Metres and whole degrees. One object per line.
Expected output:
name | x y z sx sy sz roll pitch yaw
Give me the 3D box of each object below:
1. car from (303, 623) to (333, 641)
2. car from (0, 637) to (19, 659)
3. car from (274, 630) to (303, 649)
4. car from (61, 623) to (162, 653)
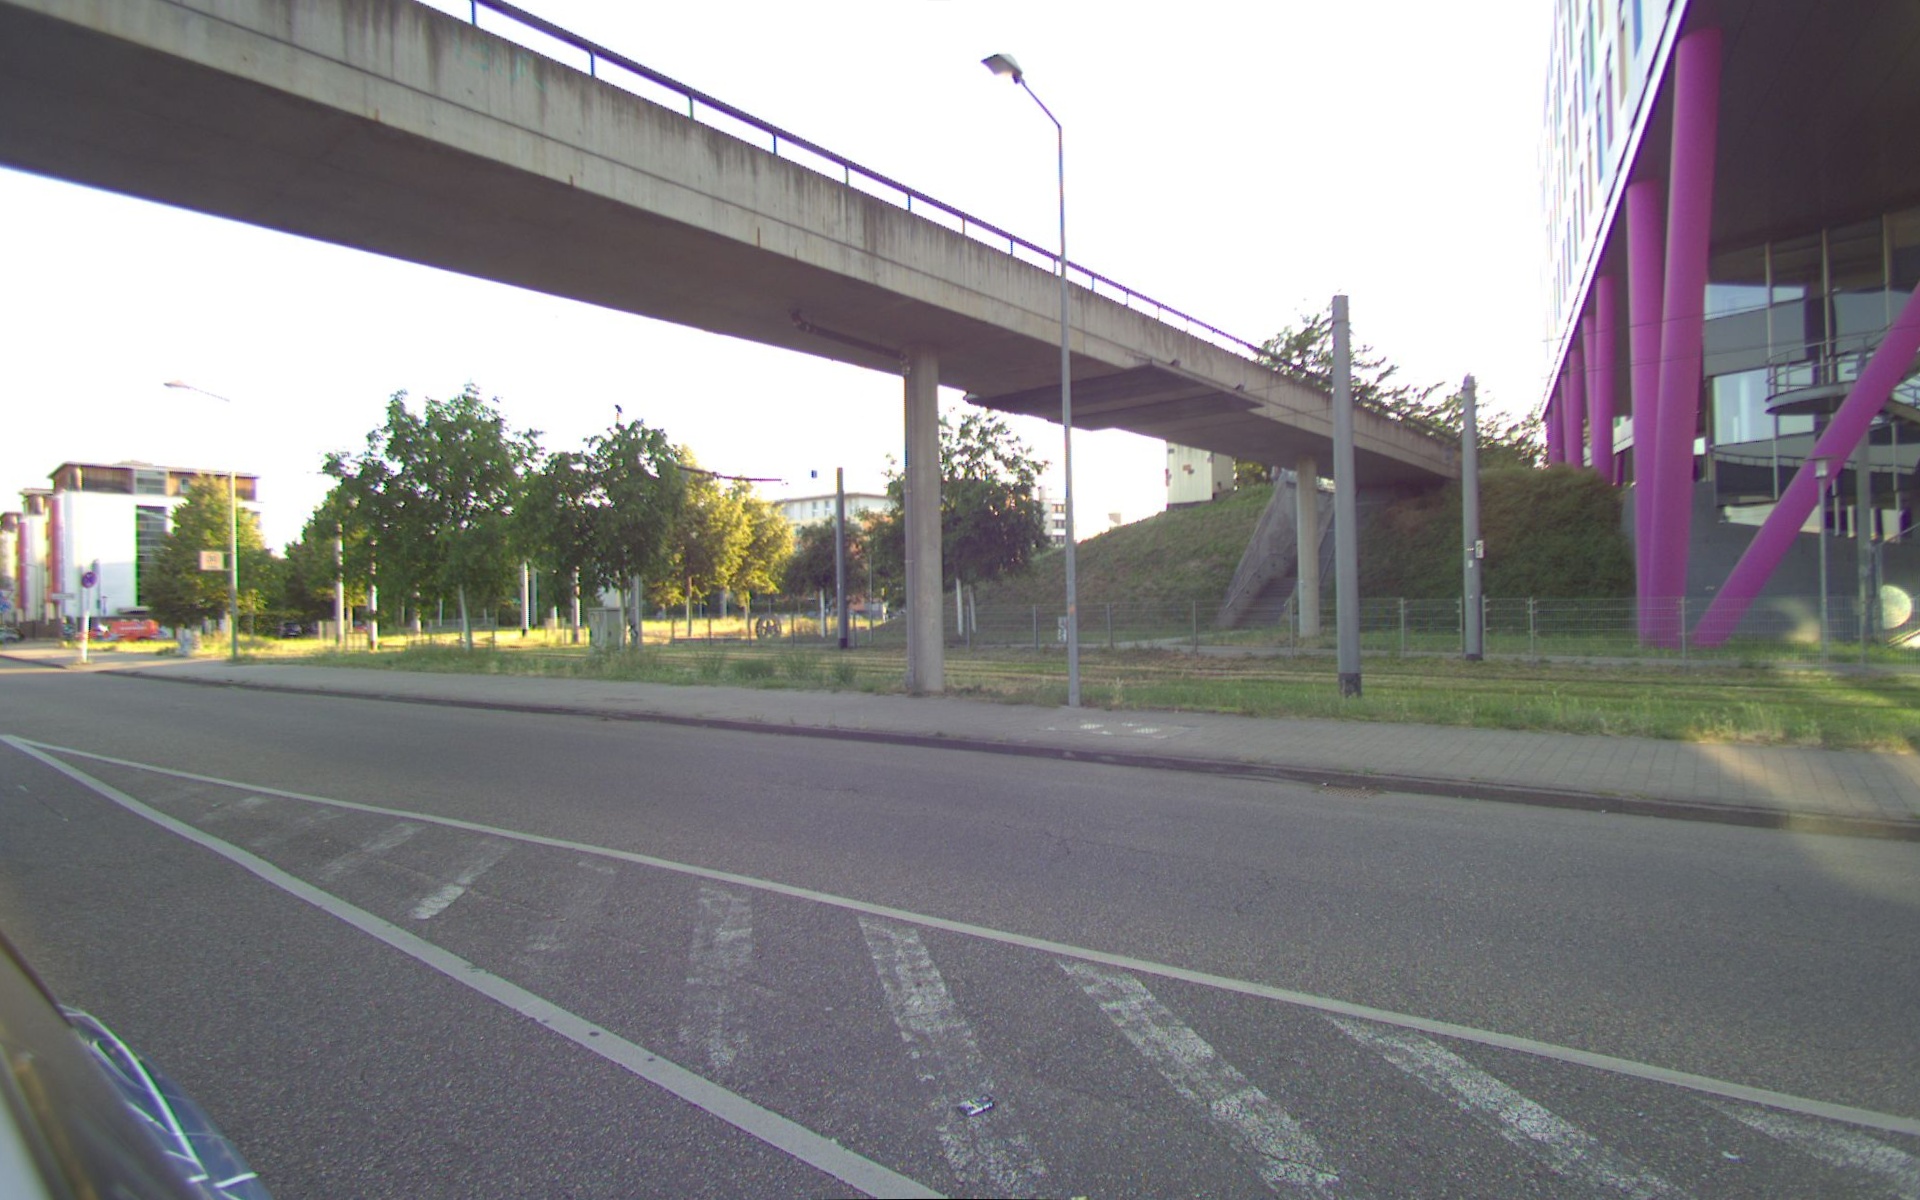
car | -55.303 2.739 87.116 1.913 1.541 4.009 -1 -1 -36
car | -80.453 4.001 83.548 2.000 1.741 3.944 -2 -1 42
car | -56.909 3.346 85.776 1.913 1.541 4.009 -1 -1 -36
car | -62.498 2.754 74.703 5.432 2.029 2.006 -1 -1 -31
